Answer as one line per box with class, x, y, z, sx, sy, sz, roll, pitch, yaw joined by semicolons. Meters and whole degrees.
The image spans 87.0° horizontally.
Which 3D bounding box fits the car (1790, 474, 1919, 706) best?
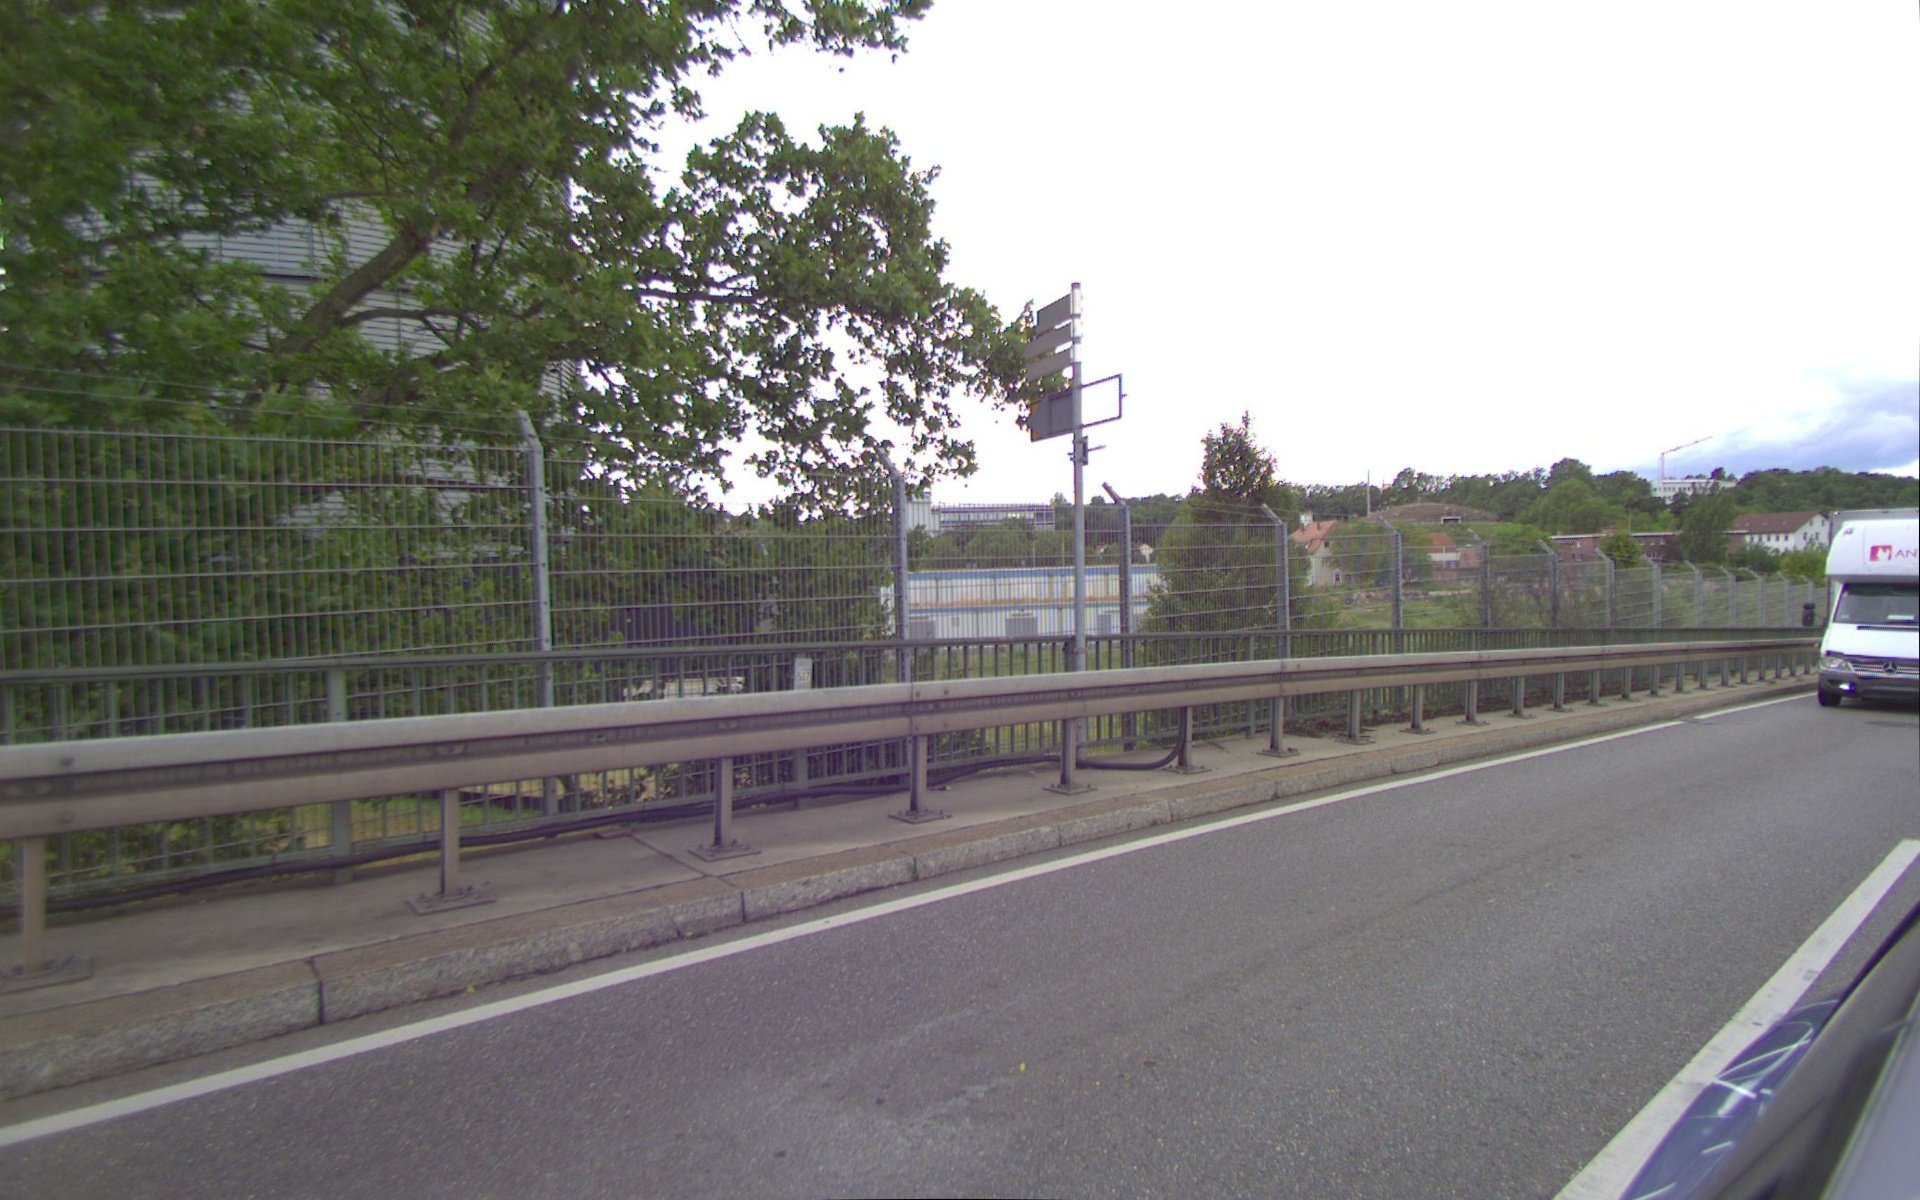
car;16.505;-0.181;17.115;6.966;3.371;2.664;-1;1;-41
